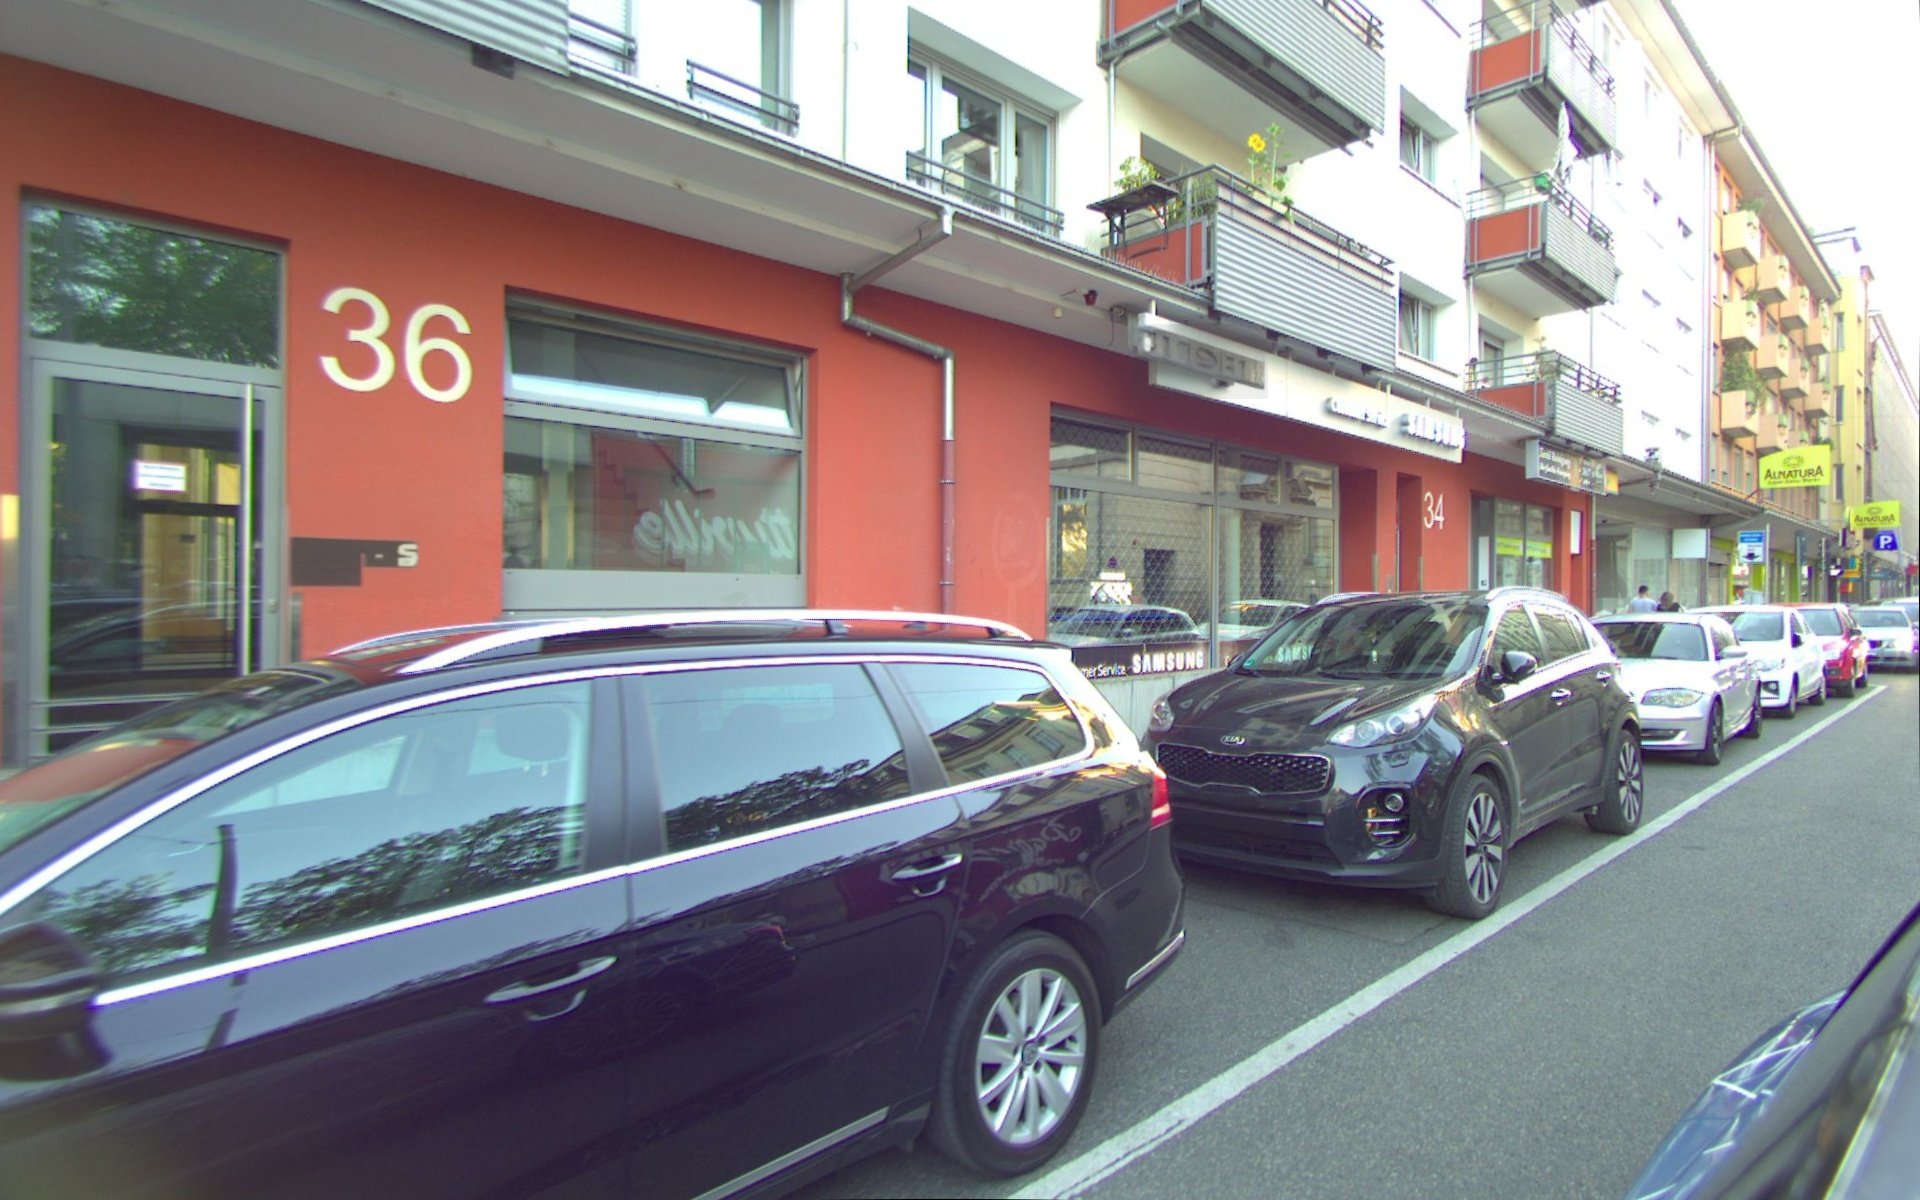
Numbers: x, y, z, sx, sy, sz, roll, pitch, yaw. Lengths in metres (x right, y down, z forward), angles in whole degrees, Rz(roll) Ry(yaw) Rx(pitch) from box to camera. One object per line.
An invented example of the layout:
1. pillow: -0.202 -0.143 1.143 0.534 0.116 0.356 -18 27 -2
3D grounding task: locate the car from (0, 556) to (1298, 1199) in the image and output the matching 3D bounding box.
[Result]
1. car: -1.188 0.738 2.538 4.708 1.522 1.767 0 -2 -42

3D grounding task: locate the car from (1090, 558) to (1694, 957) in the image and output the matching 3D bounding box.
1. car: 3.044 0.697 6.493 4.709 1.663 1.766 1 -2 -43

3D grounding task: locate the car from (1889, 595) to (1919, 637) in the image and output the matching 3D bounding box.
1. car: 34.392 0.543 35.882 4.674 1.433 1.693 0 -2 -42

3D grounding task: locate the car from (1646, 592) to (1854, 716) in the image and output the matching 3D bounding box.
1. car: 11.364 0.706 14.464 3.978 1.532 1.608 0 -2 -42

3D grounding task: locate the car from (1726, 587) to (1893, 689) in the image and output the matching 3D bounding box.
1. car: 14.698 0.609 17.422 4.575 1.532 1.713 1 -3 -44

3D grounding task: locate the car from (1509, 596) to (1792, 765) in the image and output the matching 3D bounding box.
1. car: 7.631 0.748 11.003 4.385 1.471 1.699 1 -3 -45

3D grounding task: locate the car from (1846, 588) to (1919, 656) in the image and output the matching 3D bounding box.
1. car: 24.496 0.550 25.986 4.404 1.631 1.798 0 -2 -38

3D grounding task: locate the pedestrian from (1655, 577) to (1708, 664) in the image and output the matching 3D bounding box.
1. pedestrian: 14.452 0.391 20.264 0.643 1.681 0.649 0 3 -41

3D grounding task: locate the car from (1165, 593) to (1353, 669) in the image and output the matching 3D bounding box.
1. car: 6.020 0.557 20.166 3.929 1.353 1.743 0 0 -41

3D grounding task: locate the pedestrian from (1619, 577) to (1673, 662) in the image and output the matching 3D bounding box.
1. pedestrian: 14.051 0.382 20.729 0.780 1.681 0.649 0 3 -41

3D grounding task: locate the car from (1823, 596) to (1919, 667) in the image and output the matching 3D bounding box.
1. car: 20.573 0.665 22.444 4.605 1.433 1.737 1 -3 -44
